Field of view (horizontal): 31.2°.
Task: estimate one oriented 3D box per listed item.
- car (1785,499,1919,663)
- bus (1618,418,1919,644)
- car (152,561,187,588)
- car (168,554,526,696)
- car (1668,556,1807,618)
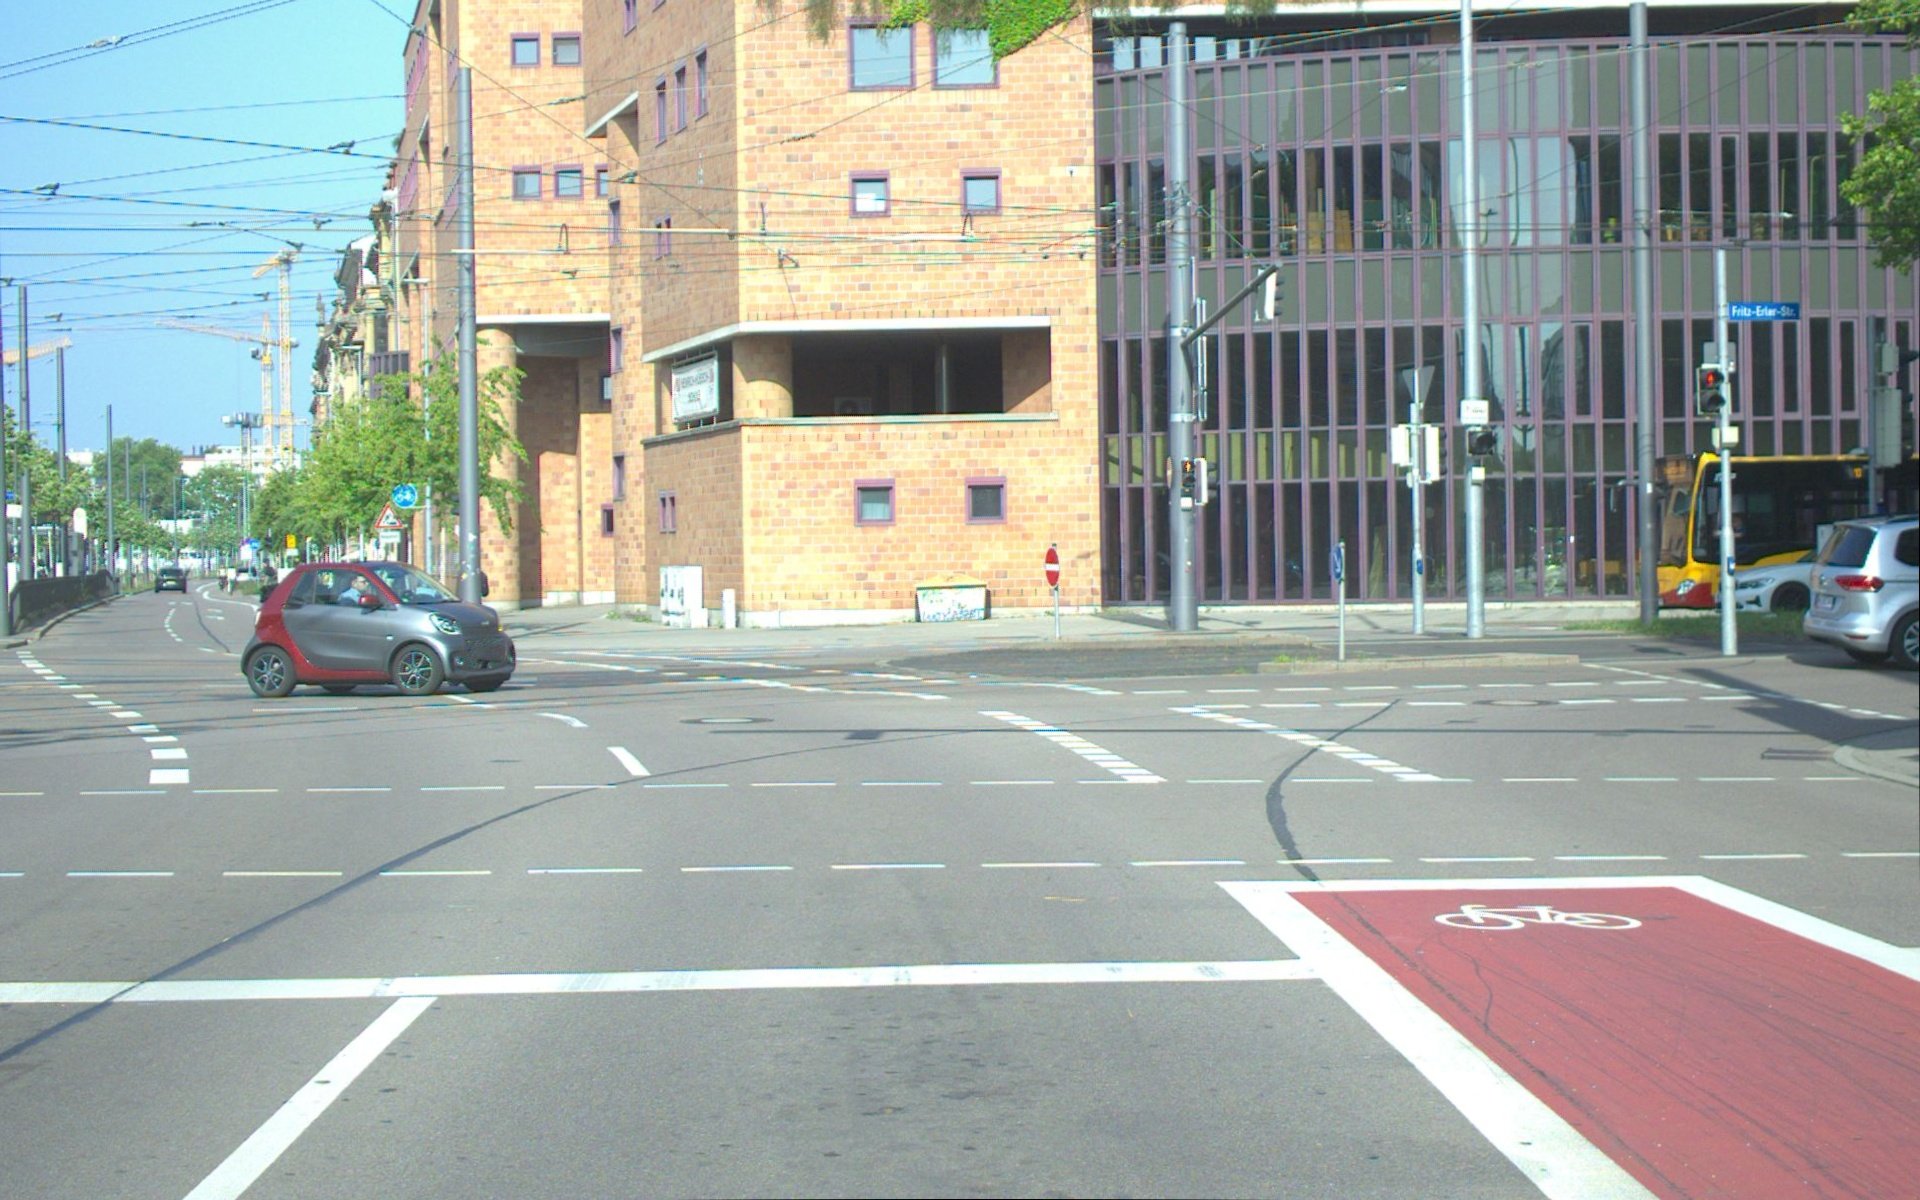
[{"bbox_3d":[11.122,-0.251,36.264,4.377,1.629,1.691,-1,2,-6],"label":"car"},{"bbox_3d":[20.582,-1.258,60.885,17.605,3.797,2.866,-1,-1,-10],"label":"bus"},{"bbox_3d":[-48.440,-1.572,210.659,2.073,1.537,4.415,-1,-1,-13],"label":"car"},{"bbox_3d":[-6.930,0.281,38.890,3.595,1.487,1.701,-1,1,21],"label":"car"},{"bbox_3d":[12.500,-0.221,55.320,1.951,0.955,1.094,-1,1,-2],"label":"car"}]
